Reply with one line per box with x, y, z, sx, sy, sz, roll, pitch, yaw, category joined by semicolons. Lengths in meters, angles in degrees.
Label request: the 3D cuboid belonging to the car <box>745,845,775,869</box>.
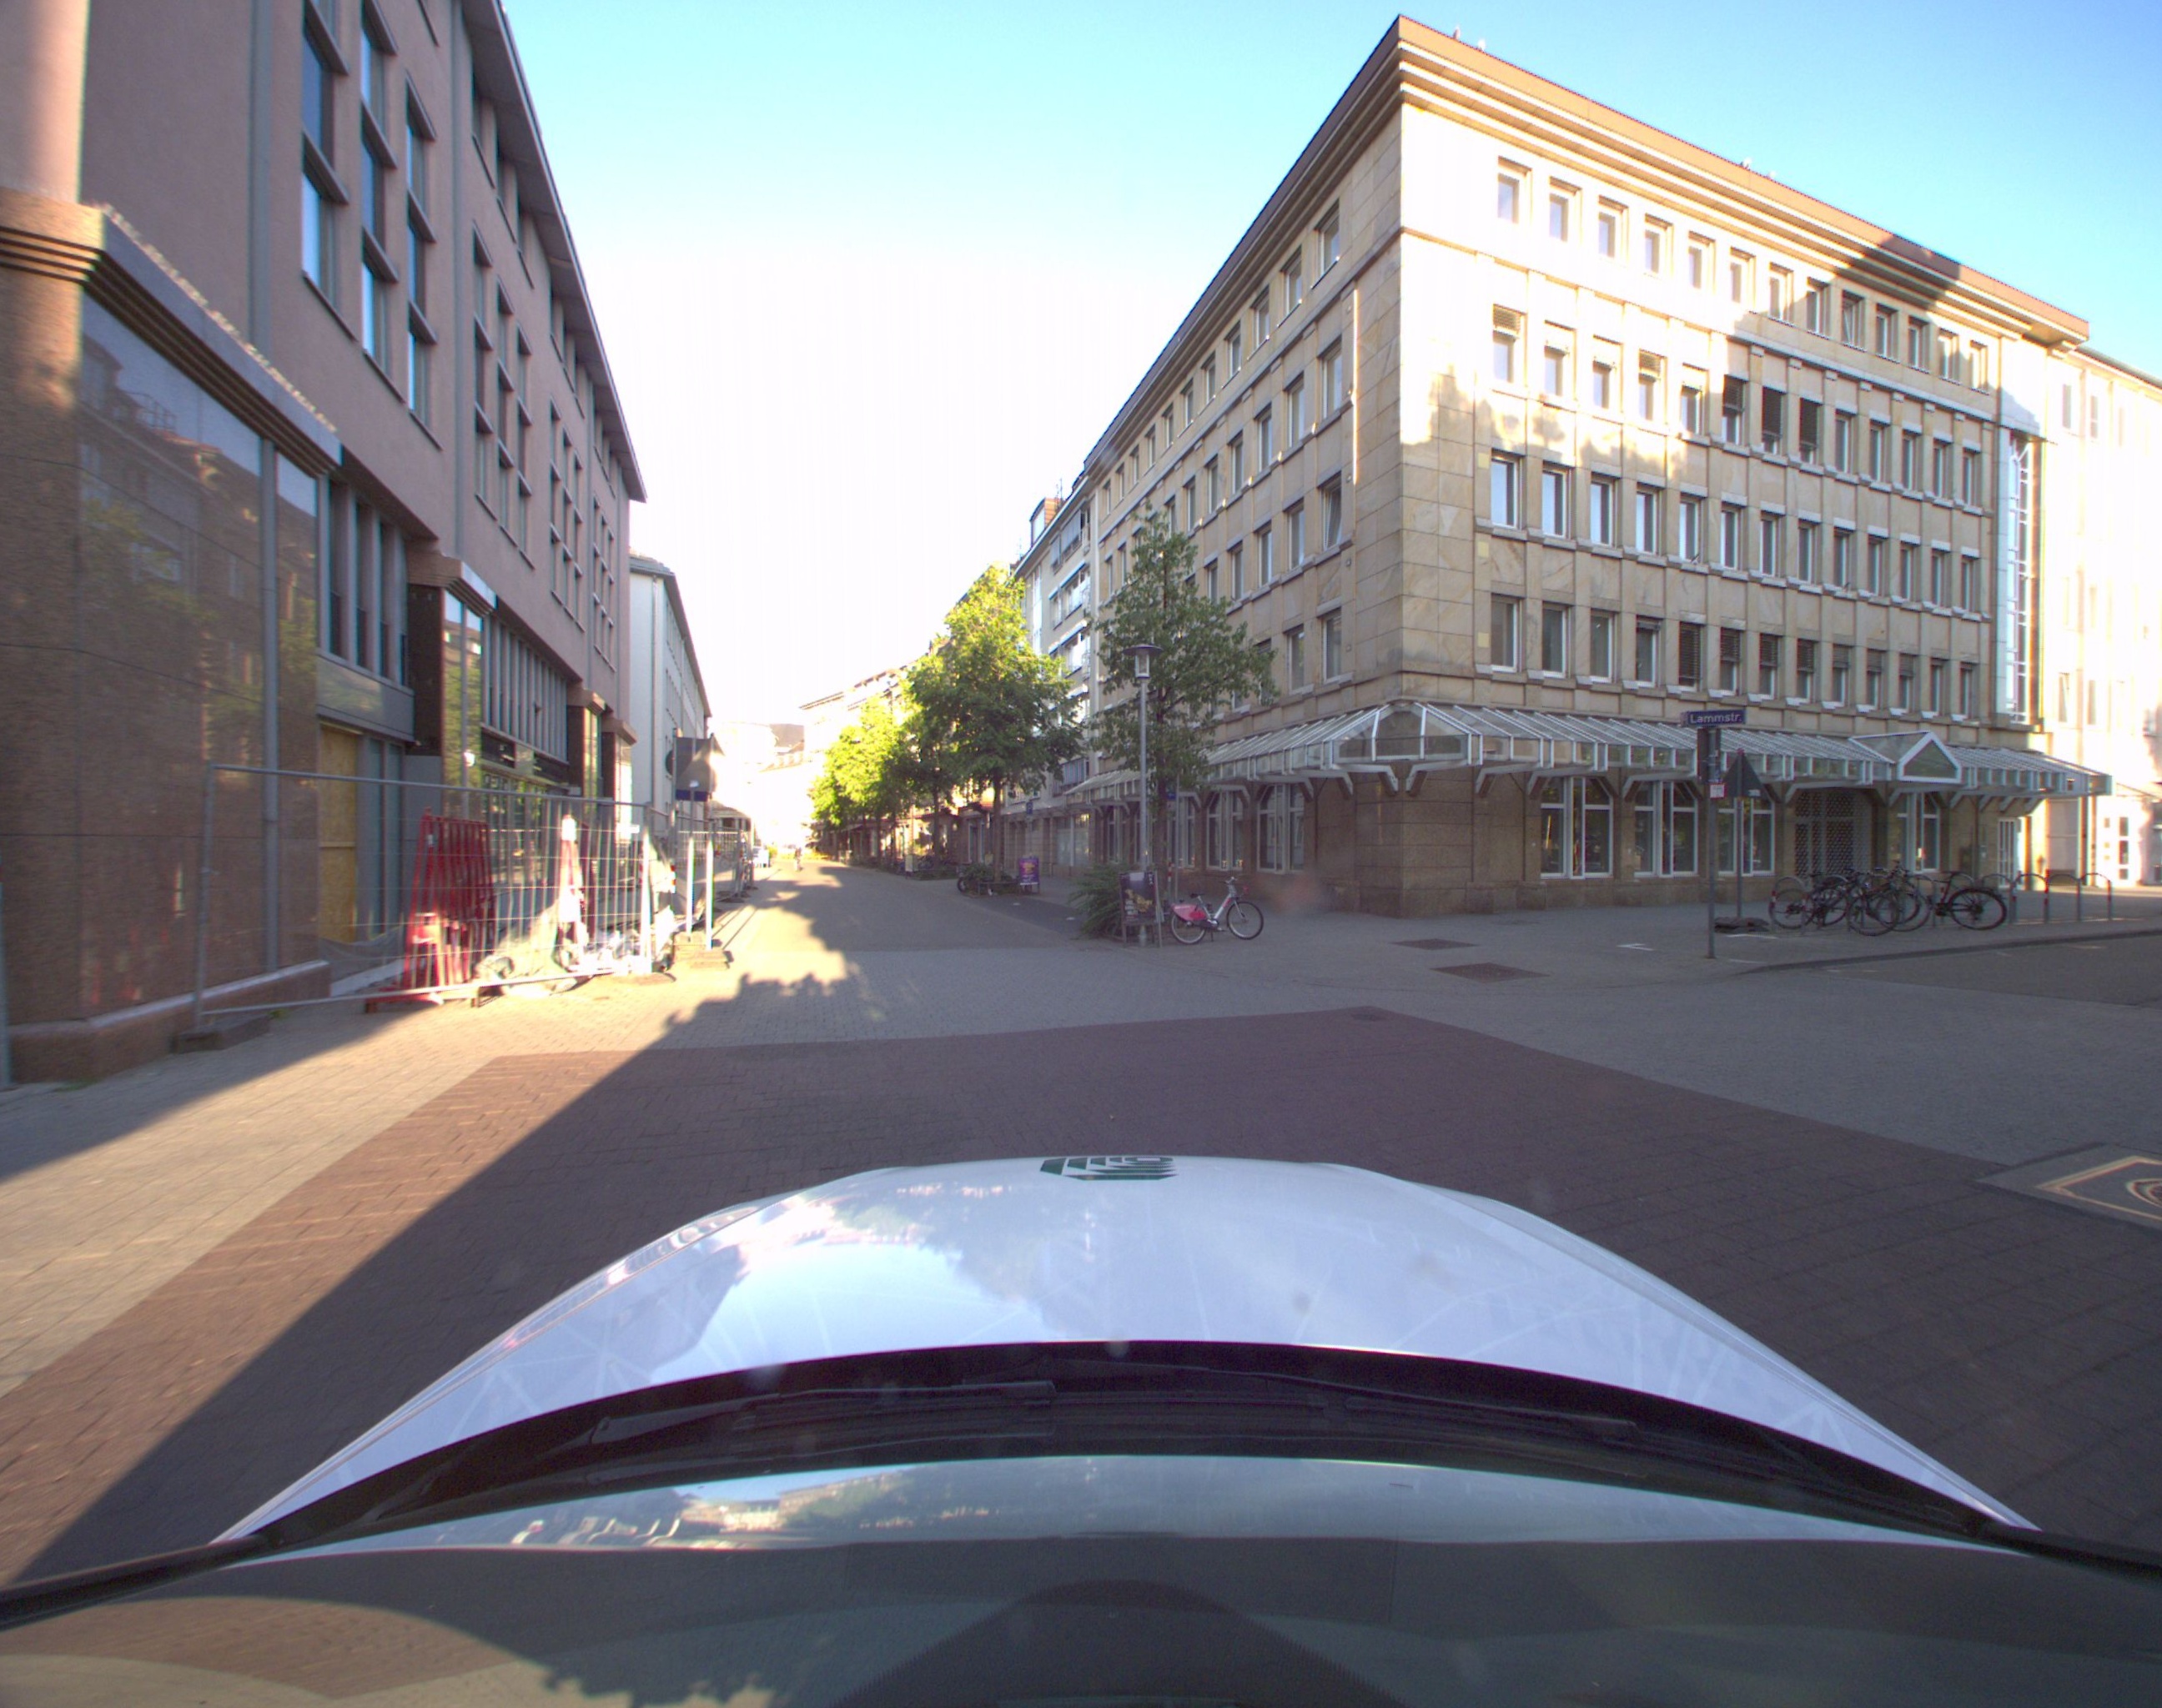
-23.524;0.181;59.673;1.851;1.684;3.615;0;0;-25;car

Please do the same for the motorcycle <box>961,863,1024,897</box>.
-3.151;0.917;29.031;2.162;1.151;0.490;-1;-1;-23;motorcycle

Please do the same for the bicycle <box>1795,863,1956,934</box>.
13.455;0.715;13.882;0.544;1.050;1.938;0;2;-17;bicycle

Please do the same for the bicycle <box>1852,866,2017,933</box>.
14.789;0.752;14.185;0.513;1.028;1.935;0;1;-21;bicycle

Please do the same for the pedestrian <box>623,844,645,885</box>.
-18.838;0.426;34.321;0.655;1.725;0.631;0;0;-15;pedestrian

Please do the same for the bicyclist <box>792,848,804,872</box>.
-17.735;0.350;51.029;0.724;1.468;0.712;0;0;-22;bicyclist

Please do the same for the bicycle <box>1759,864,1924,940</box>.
12.356;0.742;13.316;0.544;1.050;1.937;0;2;-19;bicycle

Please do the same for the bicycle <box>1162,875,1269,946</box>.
2.245;0.937;13.697;1.651;1.050;0.662;-3;2;-2;bicycle

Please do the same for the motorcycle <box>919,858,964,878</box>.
-7.654;0.756;44.752;2.493;1.095;0.583;0;-1;-42;motorcycle

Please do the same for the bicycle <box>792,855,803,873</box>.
-17.778;0.638;51.111;0.591;1.095;2.145;0;0;-20;bicycle

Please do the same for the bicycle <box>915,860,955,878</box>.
-8.186;0.835;45.781;2.169;0.926;0.584;0;-1;-35;bicycle

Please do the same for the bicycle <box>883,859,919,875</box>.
-11.300;0.803;51.174;2.165;0.926;0.585;0;-1;-27;bicycle

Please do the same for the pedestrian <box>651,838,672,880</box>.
-17.927;0.220;34.808;0.655;1.764;0.631;0;0;-15;pedestrian

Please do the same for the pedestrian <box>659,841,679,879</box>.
-17.910;0.266;35.419;0.655;1.651;0.631;0;0;-15;pedestrian

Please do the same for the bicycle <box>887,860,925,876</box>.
-10.600;0.844;49.438;2.165;0.926;0.585;0;-1;-27;bicycle

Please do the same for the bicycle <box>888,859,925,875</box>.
-10.803;0.812;50.392;2.165;0.926;0.585;0;-1;-27;bicycle

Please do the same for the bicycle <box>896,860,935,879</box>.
-9.591;0.881;47.302;2.150;1.061;0.589;-1;-1;-6;bicycle
